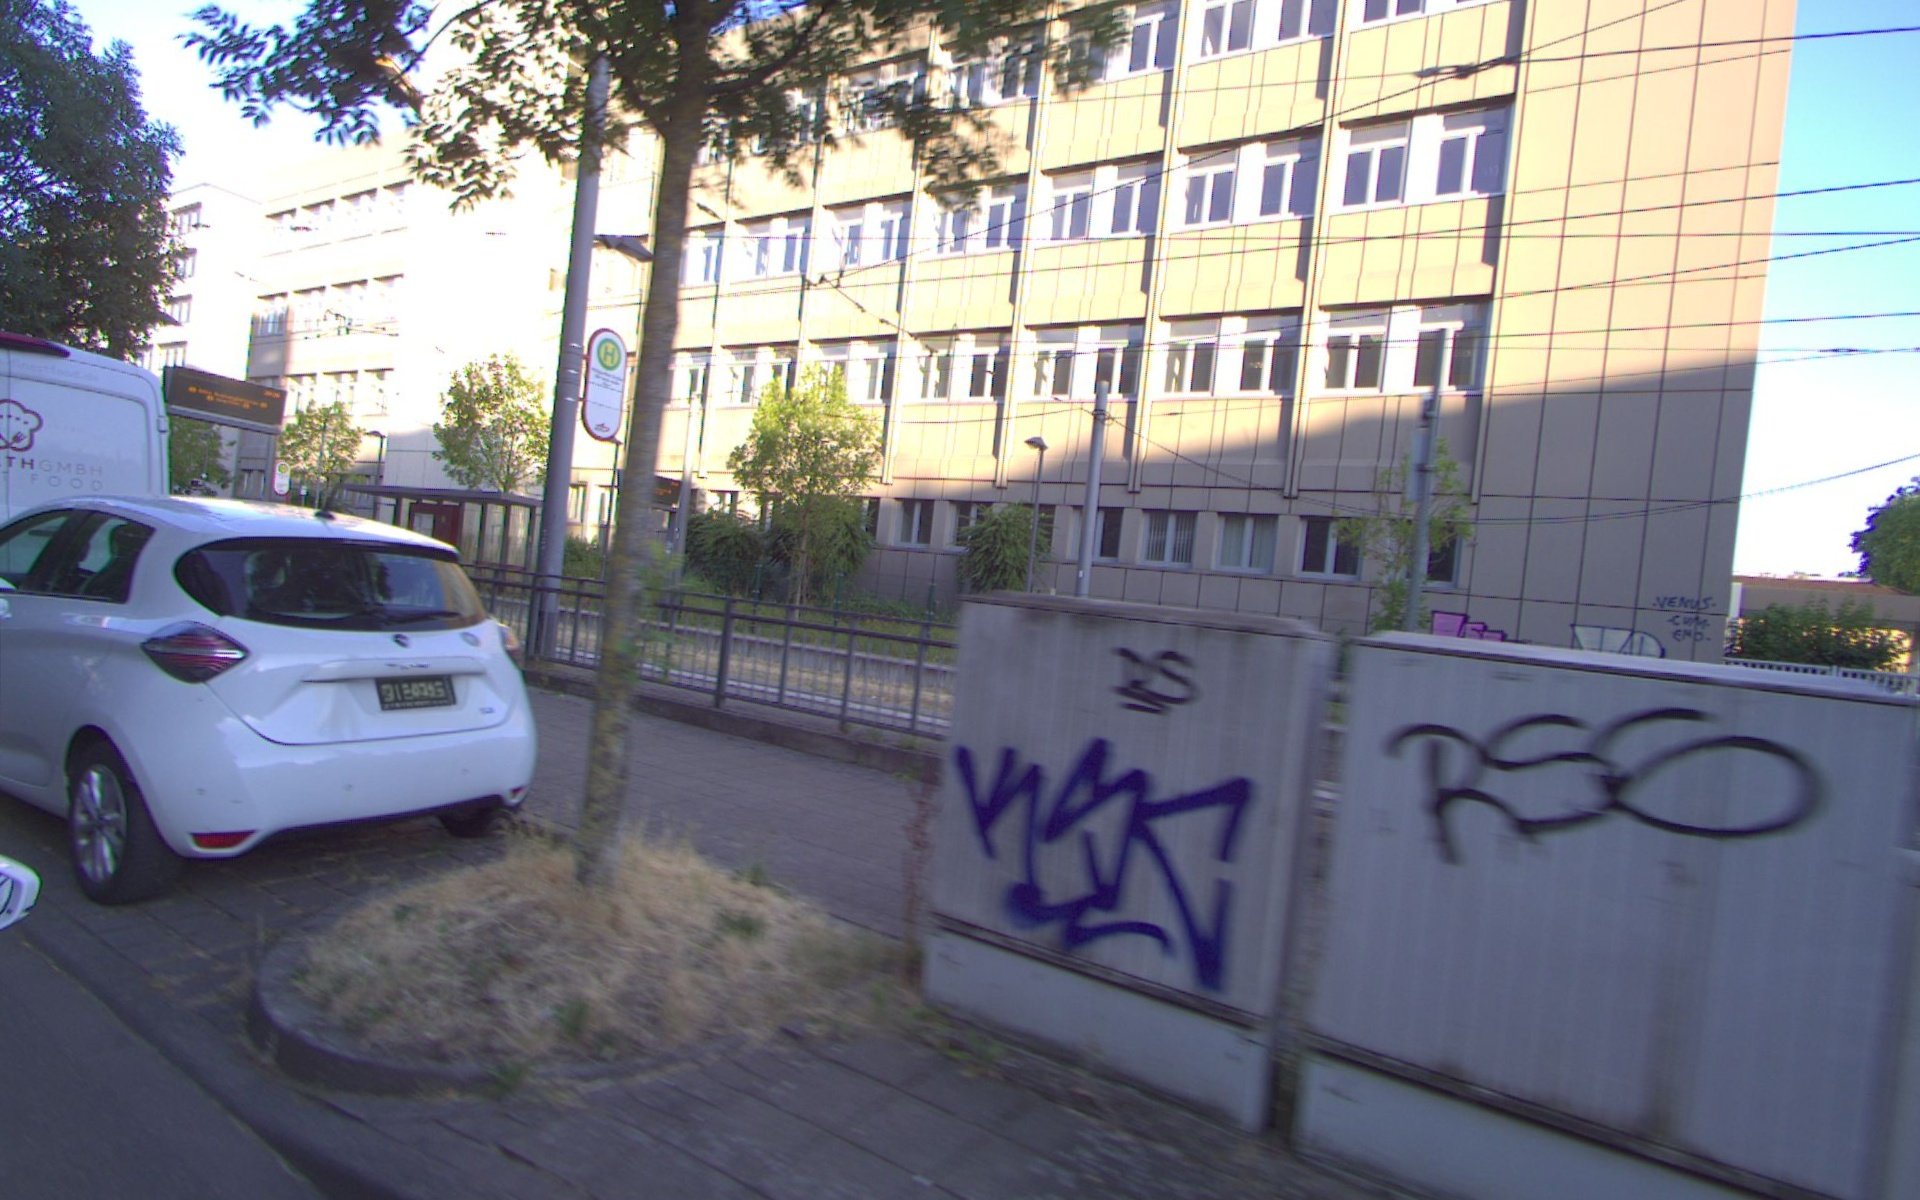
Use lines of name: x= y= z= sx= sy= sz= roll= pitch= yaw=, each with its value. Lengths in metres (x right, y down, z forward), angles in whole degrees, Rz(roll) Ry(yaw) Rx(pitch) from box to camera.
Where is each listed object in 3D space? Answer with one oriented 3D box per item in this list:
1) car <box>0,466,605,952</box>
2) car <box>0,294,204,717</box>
car: x=-3.908 y=0.228 z=5.125 sx=3.945 sy=1.605 sz=1.748 roll=6 pitch=3 yaw=30
car: x=-8.384 y=-0.834 z=7.859 sx=5.343 sy=2.693 sz=2.051 roll=6 pitch=3 yaw=31
